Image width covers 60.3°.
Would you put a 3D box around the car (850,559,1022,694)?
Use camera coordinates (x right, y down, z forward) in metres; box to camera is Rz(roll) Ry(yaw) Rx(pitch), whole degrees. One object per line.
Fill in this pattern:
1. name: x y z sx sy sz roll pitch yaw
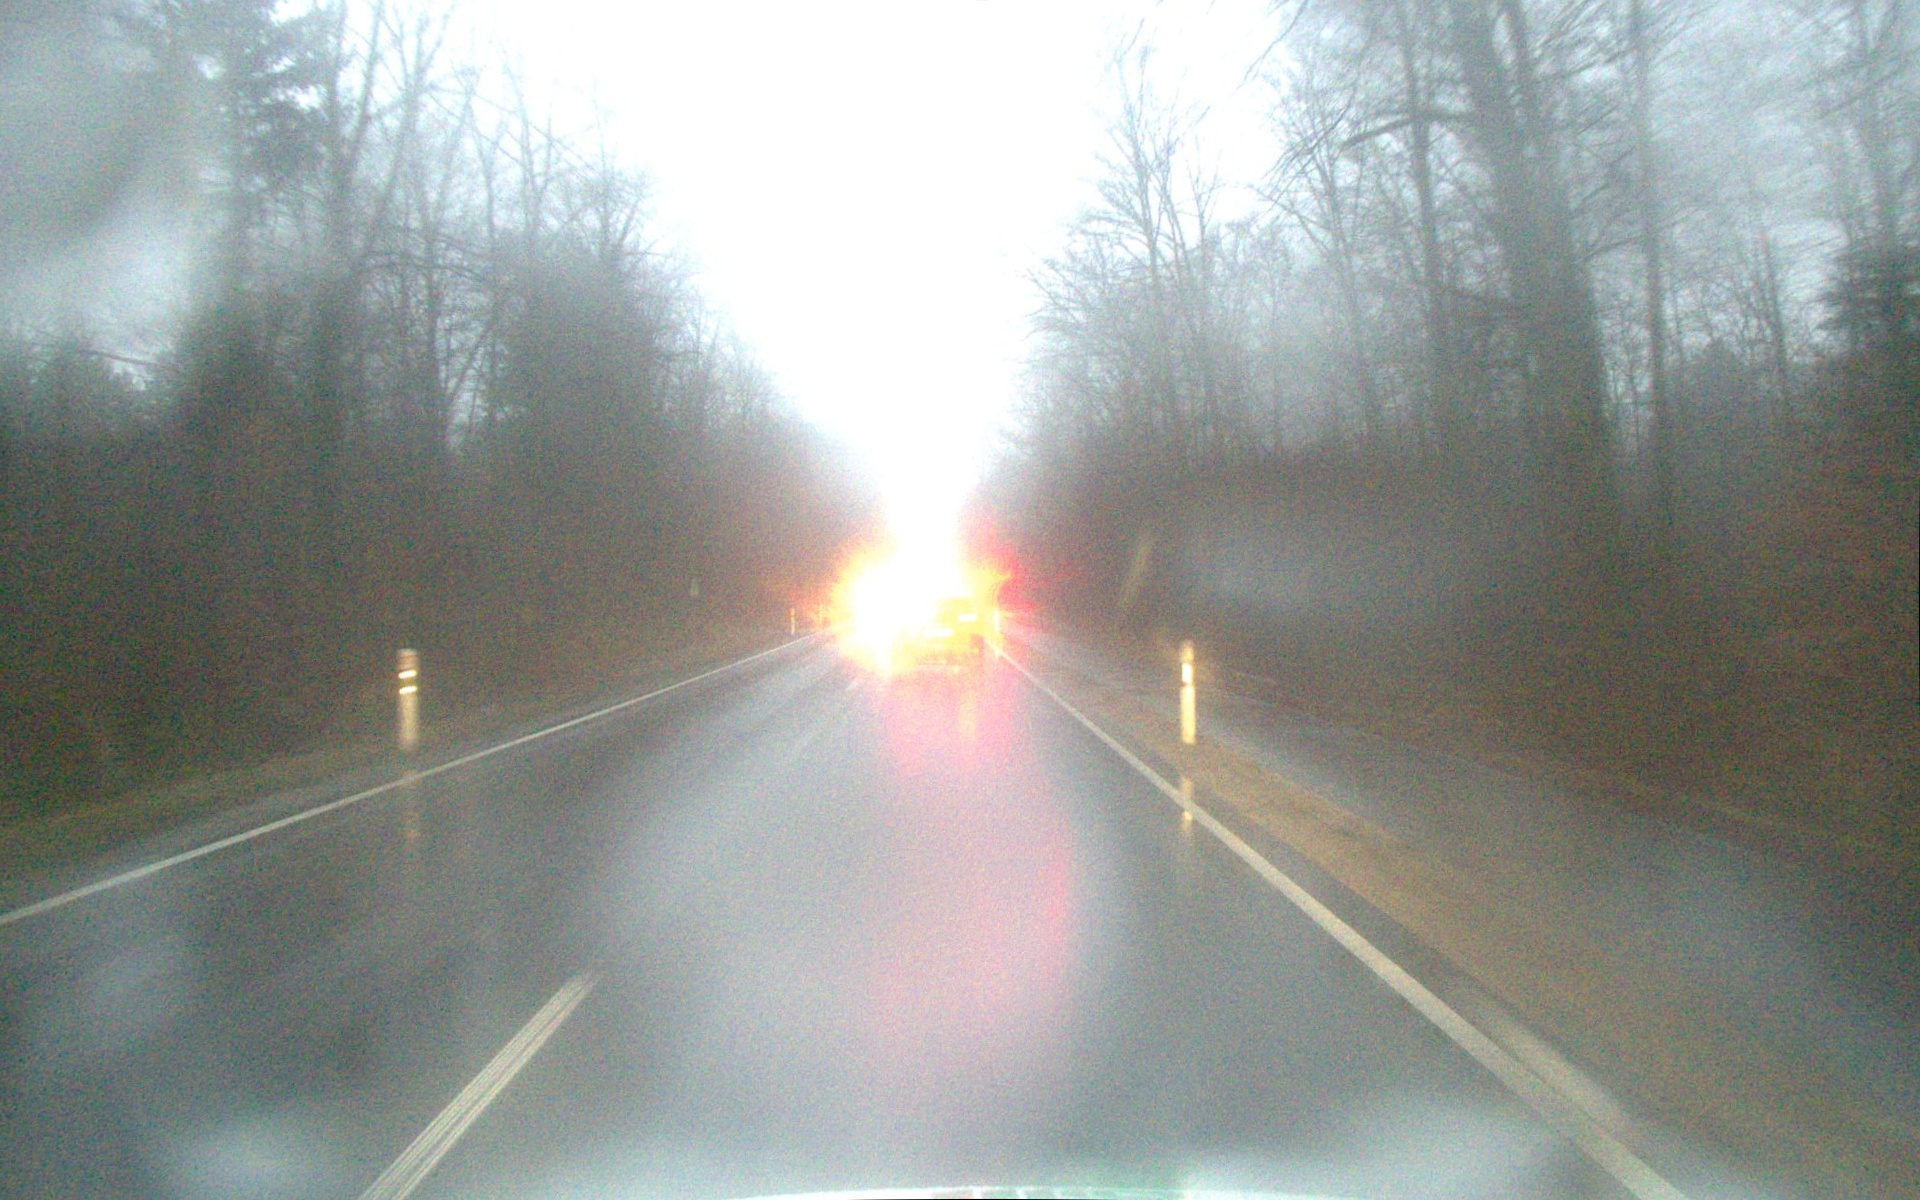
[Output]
1. car: -0.442 0.482 33.637 3.118 2.428 6.636 1 0 0
